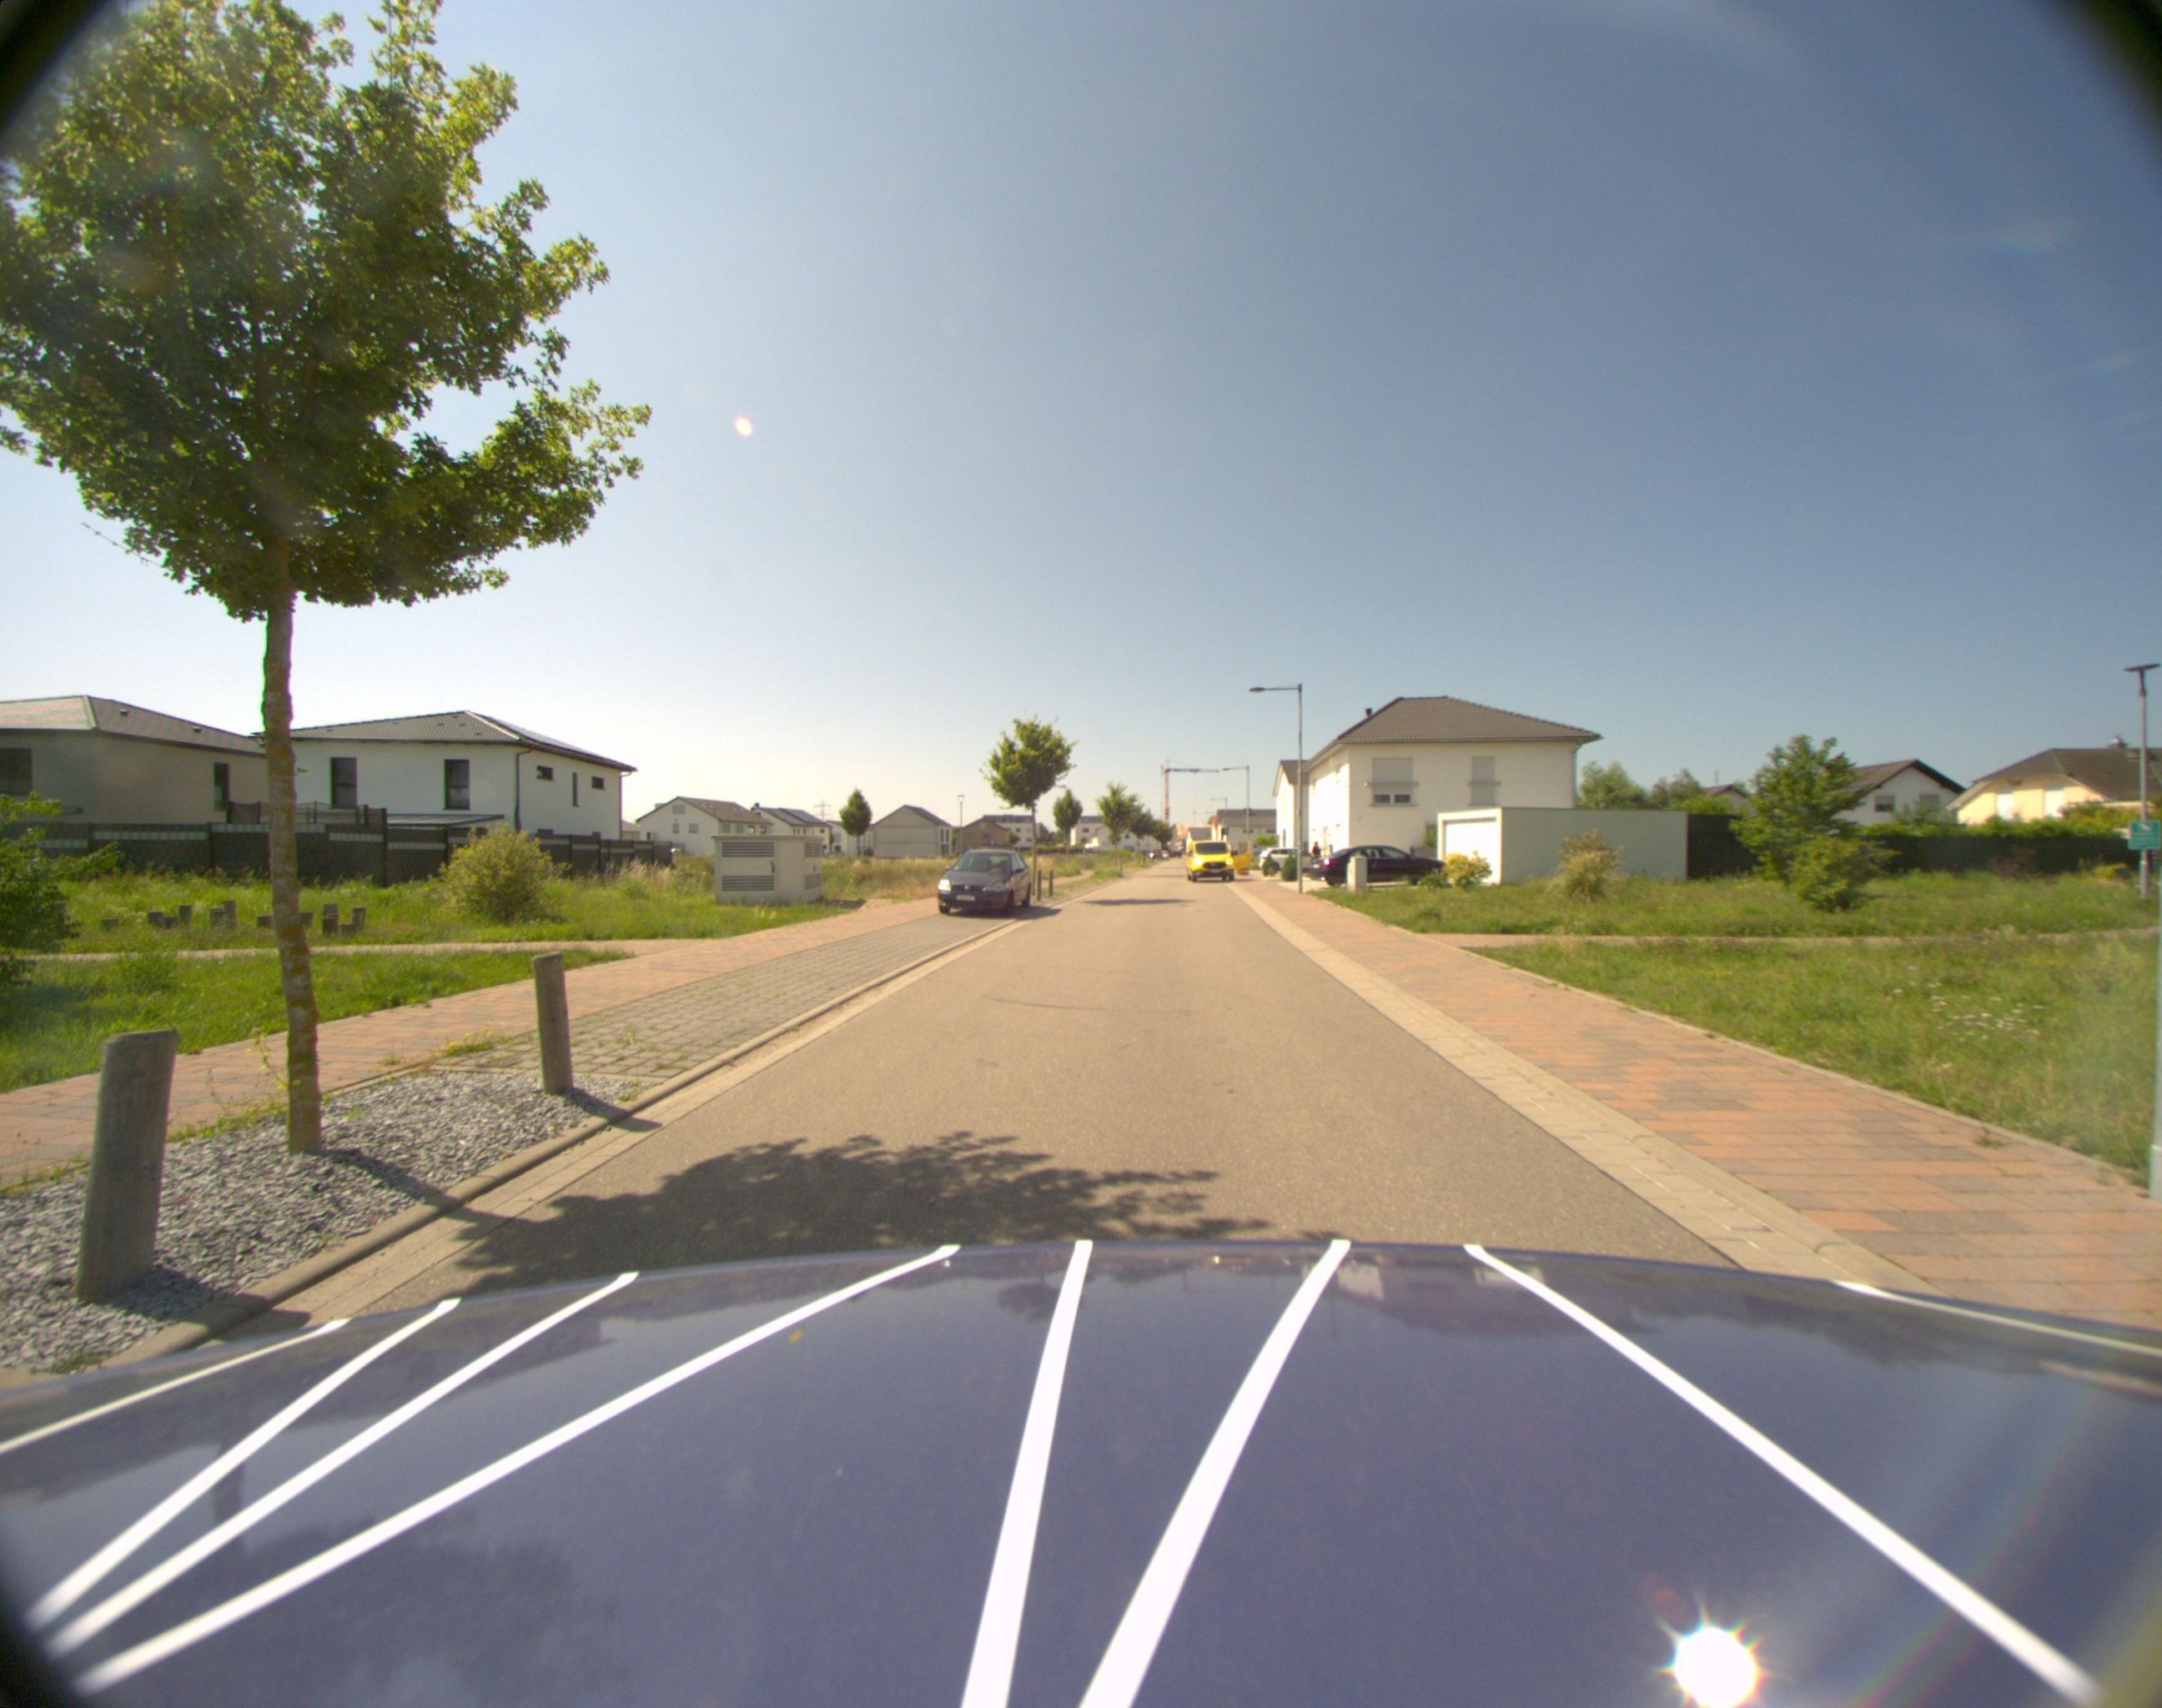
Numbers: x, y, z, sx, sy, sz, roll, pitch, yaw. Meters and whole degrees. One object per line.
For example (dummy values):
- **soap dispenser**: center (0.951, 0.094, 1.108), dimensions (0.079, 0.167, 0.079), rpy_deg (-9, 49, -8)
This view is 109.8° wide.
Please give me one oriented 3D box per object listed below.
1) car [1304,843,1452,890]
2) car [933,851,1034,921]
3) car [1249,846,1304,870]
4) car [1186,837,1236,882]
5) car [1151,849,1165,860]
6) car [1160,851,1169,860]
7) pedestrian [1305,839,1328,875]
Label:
- **car**: center (10.116, 0.415, 26.039), dimensions (4.406, 1.444, 1.748), rpy_deg (-1, 1, -5)
- **car**: center (-2.224, 0.684, 18.262), dimensions (1.601, 1.466, 3.676), rpy_deg (2, 1, 5)
- **car**: center (15.436, 0.296, 60.208), dimensions (3.994, 1.842, 2.001), rpy_deg (0, 1, 9)
- **car**: center (6.227, 0.231, 36.871), dimensions (1.888, 2.002, 4.842), rpy_deg (-1, 0, 4)
- **car**: center (11.079, 0.098, 108.990), dimensions (1.767, 1.483, 4.002), rpy_deg (0, 1, 8)
- **car**: center (14.012, 0.260, 127.275), dimensions (1.492, 1.389, 3.274), rpy_deg (0, 1, 8)
- **pedestrian**: center (11.108, 0.148, 35.821), dimensions (0.931, 1.675, 0.538), rpy_deg (-2, 1, 18)
